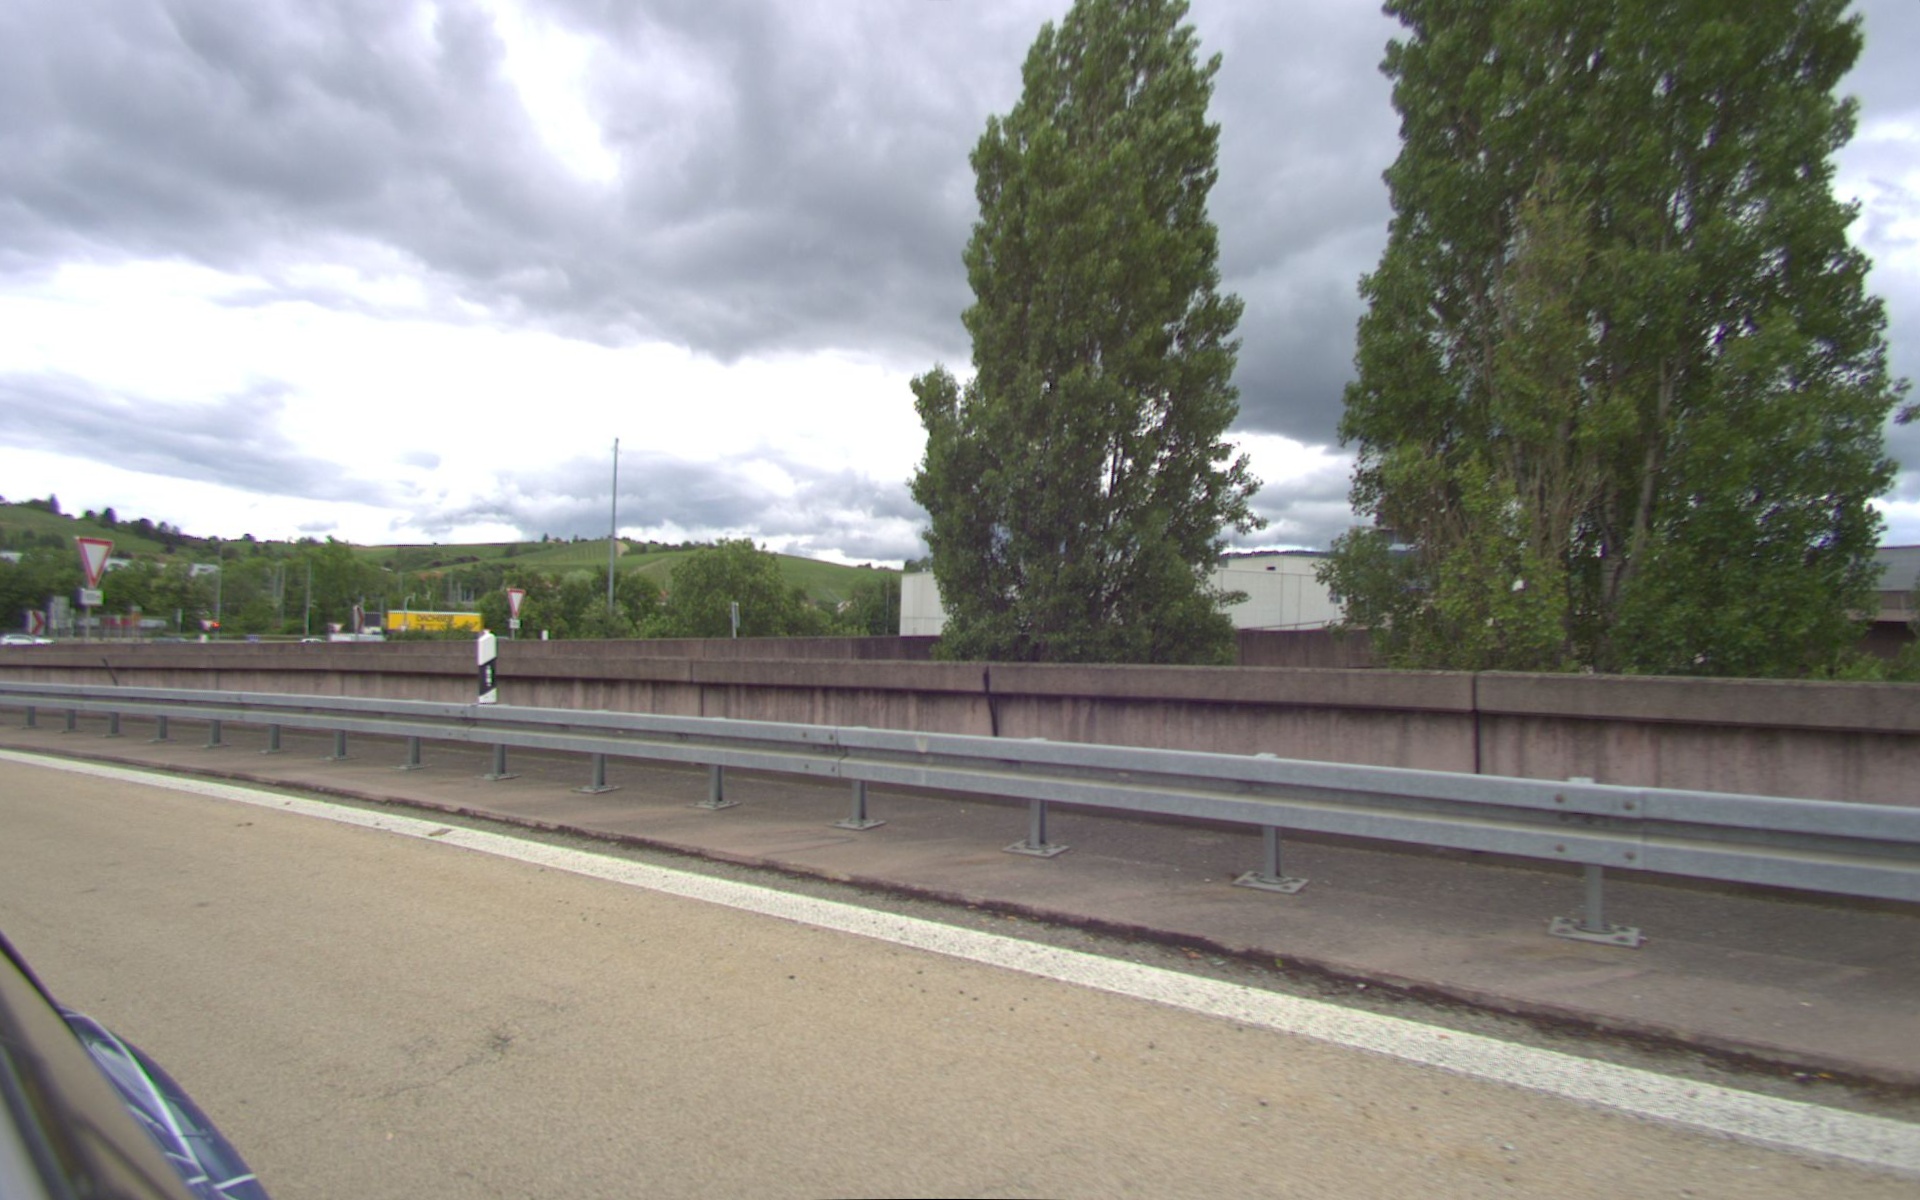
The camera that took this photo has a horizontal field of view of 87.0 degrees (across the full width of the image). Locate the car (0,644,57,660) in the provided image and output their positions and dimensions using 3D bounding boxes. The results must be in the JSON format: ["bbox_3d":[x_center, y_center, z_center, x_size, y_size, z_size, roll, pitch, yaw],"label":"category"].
[{"bbox_3d":[-100.647,5.593,108.977,4.634,1.572,1.884,1,0,-17],"label":"car"}]

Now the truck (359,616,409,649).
[{"bbox_3d":[-75.288,4.258,132.354,5.017,4.236,2.642,1,-1,-13],"label":"truck"}]

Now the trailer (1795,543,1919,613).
[{"bbox_3d":[57.021,-1.312,60.593,2.827,4.041,13.964,-2,0,2],"label":"trailer"}]

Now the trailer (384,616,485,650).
[{"bbox_3d":[-69.292,4.416,133.725,11.462,4.236,2.642,2,-1,-13],"label":"trailer"}]

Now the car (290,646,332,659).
[{"bbox_3d":[-73.537,5.969,114.640,3.686,1.384,1.633,1,0,-13],"label":"car"}]

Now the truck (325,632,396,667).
[{"bbox_3d":[-58.726,4.876,99.395,2.324,3.288,6.980,-2,-3,6],"label":"truck"}]

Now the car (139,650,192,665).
[{"bbox_3d":[-87.479,6.308,111.470,4.222,1.568,1.953,1,0,-15],"label":"car"}]
